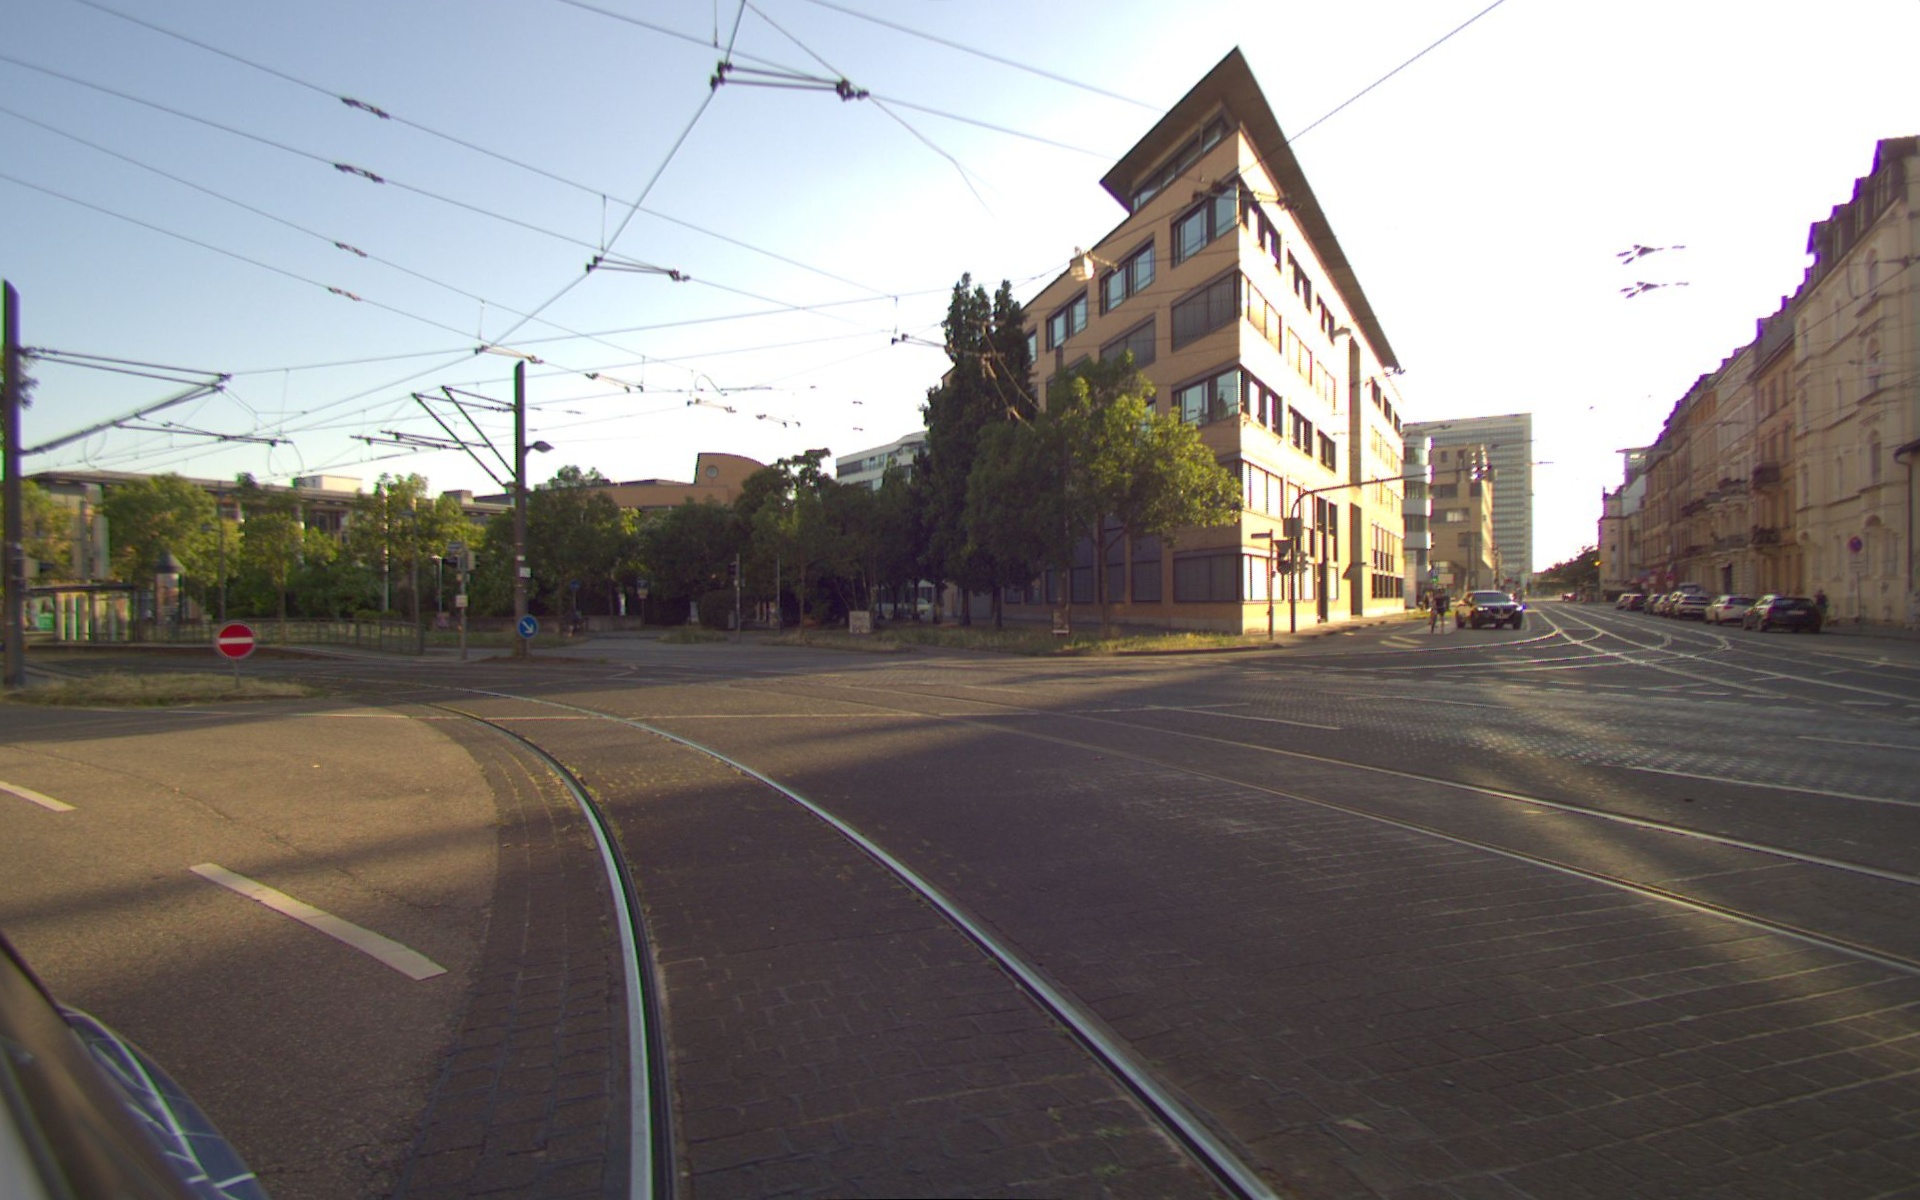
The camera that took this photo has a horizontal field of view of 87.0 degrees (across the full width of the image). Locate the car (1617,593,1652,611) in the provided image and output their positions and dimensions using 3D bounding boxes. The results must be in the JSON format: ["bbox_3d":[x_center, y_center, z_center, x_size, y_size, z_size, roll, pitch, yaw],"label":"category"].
[{"bbox_3d":[57.326,0.175,86.049,1.859,1.497,3.965,-1,0,26],"label":"car"}]

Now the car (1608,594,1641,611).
[{"bbox_3d":[60.755,0.188,92.620,1.989,1.497,3.965,-1,0,26],"label":"car"}]

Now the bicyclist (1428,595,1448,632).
[{"bbox_3d":[19.213,0.545,40.656,0.665,1.464,0.736,-1,0,30],"label":"bicyclist"}]

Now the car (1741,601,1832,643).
[{"bbox_3d":[31.757,0.811,38.993,1.991,1.497,3.961,-1,0,29],"label":"car"}]

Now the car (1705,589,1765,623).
[{"bbox_3d":[36.652,0.271,47.939,1.838,1.497,3.957,-1,0,31],"label":"car"}]

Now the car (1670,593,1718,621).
[{"bbox_3d":[41.587,0.378,57.384,1.842,1.497,3.957,-1,0,31],"label":"car"}]

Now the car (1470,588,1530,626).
[{"bbox_3d":[22.079,0.268,41.515,1.989,1.497,3.965,-1,0,26],"label":"car"}]

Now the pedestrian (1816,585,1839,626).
[{"bbox_3d":[36.514,0.239,42.595,0.583,1.718,0.710,-1,0,29],"label":"pedestrian"}]

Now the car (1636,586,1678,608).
[{"bbox_3d":[50.212,-0.217,72.935,1.871,1.497,3.965,-1,0,26],"label":"car"}]

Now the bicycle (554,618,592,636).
[{"bbox_3d":[-19.173,1.339,50.144,1.960,0.827,0.768,-1,0,33],"label":"bicycle"}]

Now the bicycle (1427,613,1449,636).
[{"bbox_3d":[19.192,0.975,40.614,0.656,0.839,1.674,-1,0,30],"label":"bicycle"}]

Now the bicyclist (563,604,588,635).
[{"bbox_3d":[-19.010,0.969,50.041,0.825,1.478,0.762,-1,0,32],"label":"bicyclist"}]

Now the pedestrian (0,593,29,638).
[{"bbox_3d":[-43.353,0.724,46.327,1.123,2.029,0.764,-1,0,32],"label":"pedestrian"}]
